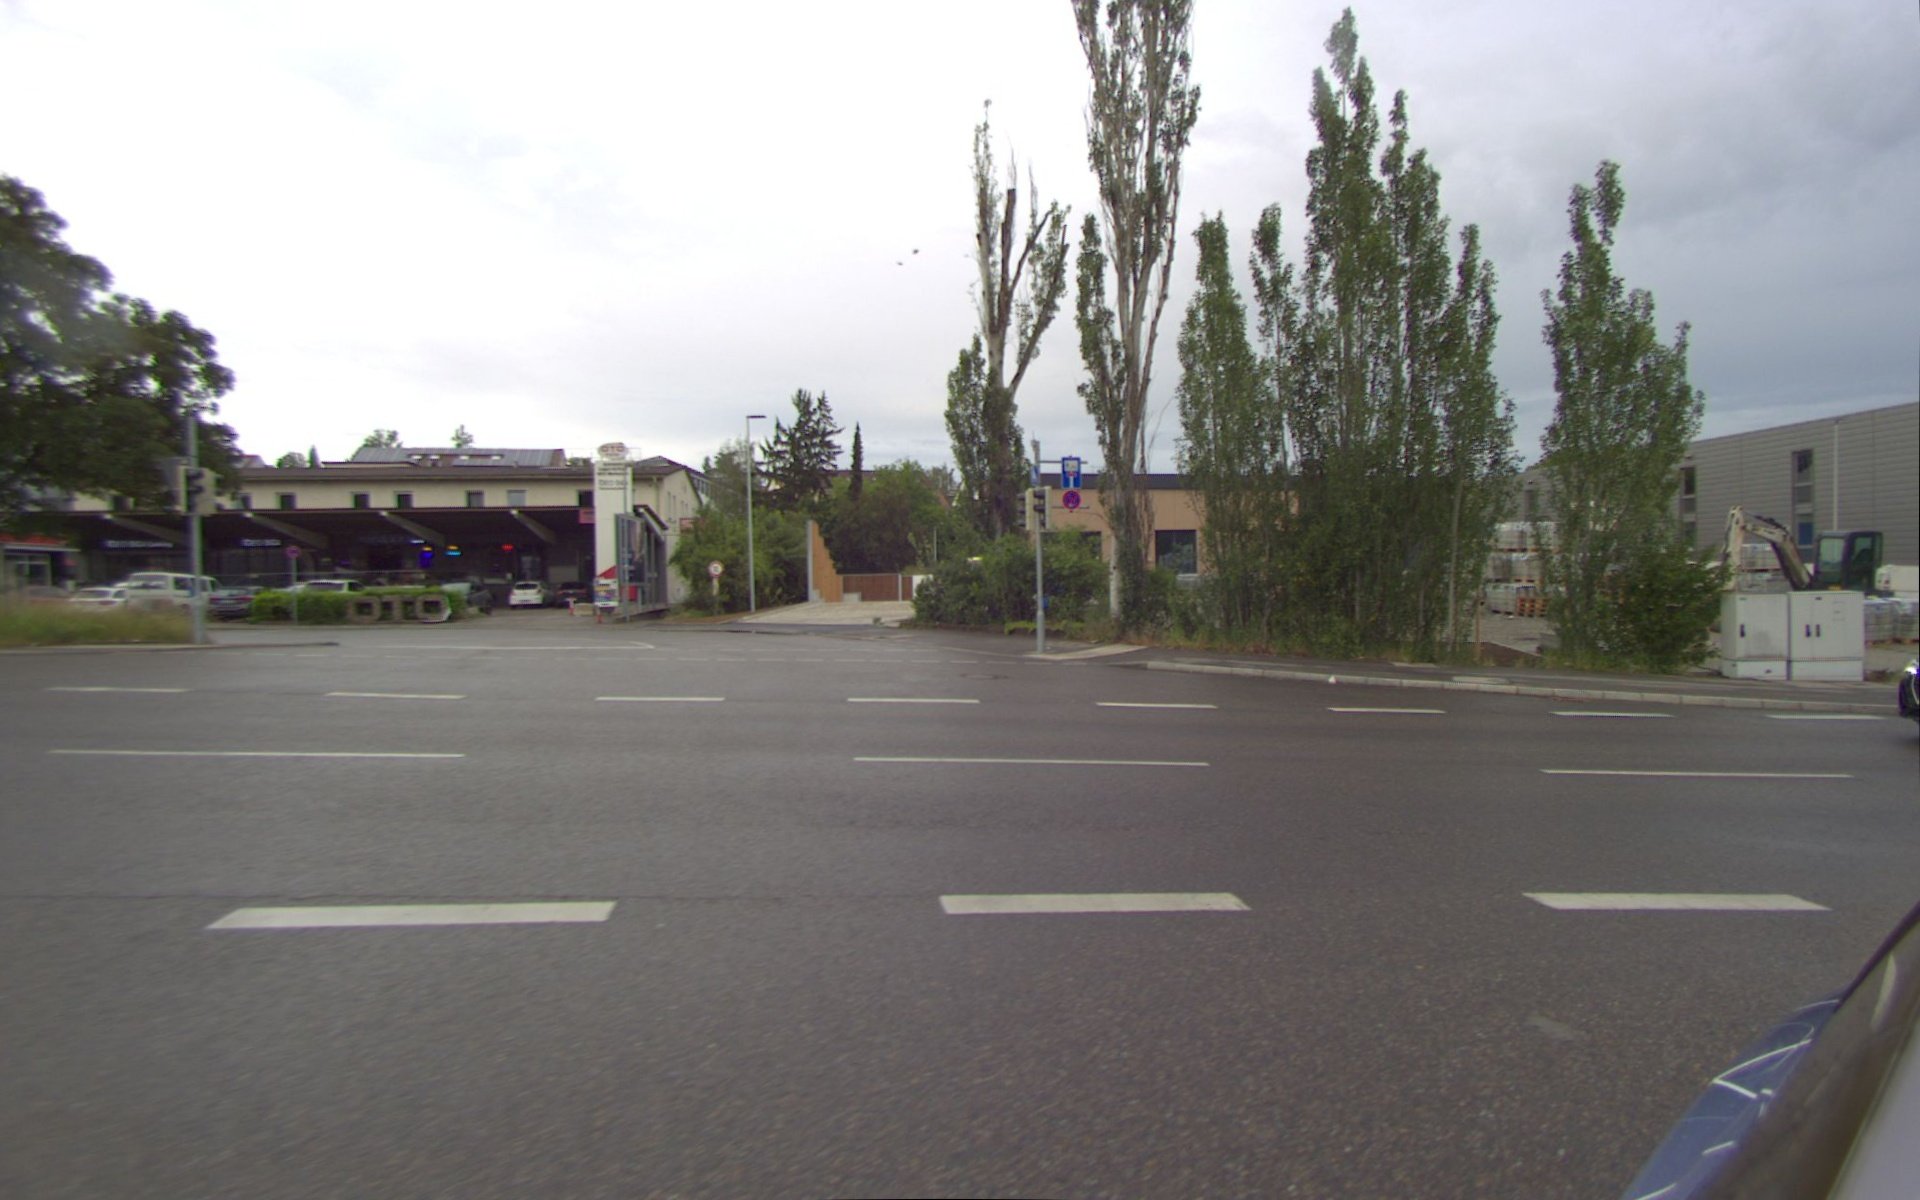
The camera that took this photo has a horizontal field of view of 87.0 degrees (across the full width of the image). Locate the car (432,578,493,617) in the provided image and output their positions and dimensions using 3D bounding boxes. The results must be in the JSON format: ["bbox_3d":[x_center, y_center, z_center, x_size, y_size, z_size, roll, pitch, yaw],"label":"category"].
[{"bbox_3d":[-22.105,-0.143,45.098,1.486,1.584,3.887,1,1,-12],"label":"car"}]

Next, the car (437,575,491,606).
[{"bbox_3d":[-27.404,-0.563,56.029,1.876,1.584,3.888,1,1,-14],"label":"car"}]

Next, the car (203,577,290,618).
[{"bbox_3d":[-29.447,-0.141,41.901,1.486,1.584,3.887,1,1,-12],"label":"car"}]

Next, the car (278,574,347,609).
[{"bbox_3d":[-31.017,-0.455,48.576,1.486,1.584,3.887,1,1,-12],"label":"car"}]

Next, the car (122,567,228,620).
[{"bbox_3d":[-31.498,-0.290,40.737,1.818,1.970,3.887,1,1,-12],"label":"car"}]

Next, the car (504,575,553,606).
[{"bbox_3d":[-23.784,-0.547,55.904,1.876,1.584,3.888,1,1,-14],"label":"car"}]

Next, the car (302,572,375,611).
[{"bbox_3d":[-27.419,-0.401,44.756,1.486,1.584,3.887,1,1,-12],"label":"car"}]

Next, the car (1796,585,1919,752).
[{"bbox_3d":[12.034,0.735,10.408,5.496,1.564,1.824,1,2,-5],"label":"car"}]

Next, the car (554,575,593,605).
[{"bbox_3d":[-21.283,-0.568,55.866,1.486,1.584,3.888,1,1,-14],"label":"car"}]

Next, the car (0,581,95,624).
[{"bbox_3d":[-36.745,0.052,40.509,1.486,1.584,3.887,1,1,-12],"label":"car"}]

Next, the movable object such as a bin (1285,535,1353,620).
[{"bbox_3d":[12.243,-0.764,34.754,1.875,2.651,4.953,2,1,17],"label":"movable object such as a bin"}]

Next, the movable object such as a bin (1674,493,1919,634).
[{"bbox_3d":[21.614,-0.887,25.971,5.311,3.317,2.314,1,1,-12],"label":"movable object such as a bin"}]

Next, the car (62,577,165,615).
[{"bbox_3d":[-34.001,-0.193,40.769,1.486,1.415,3.887,1,1,-12],"label":"car"}]
